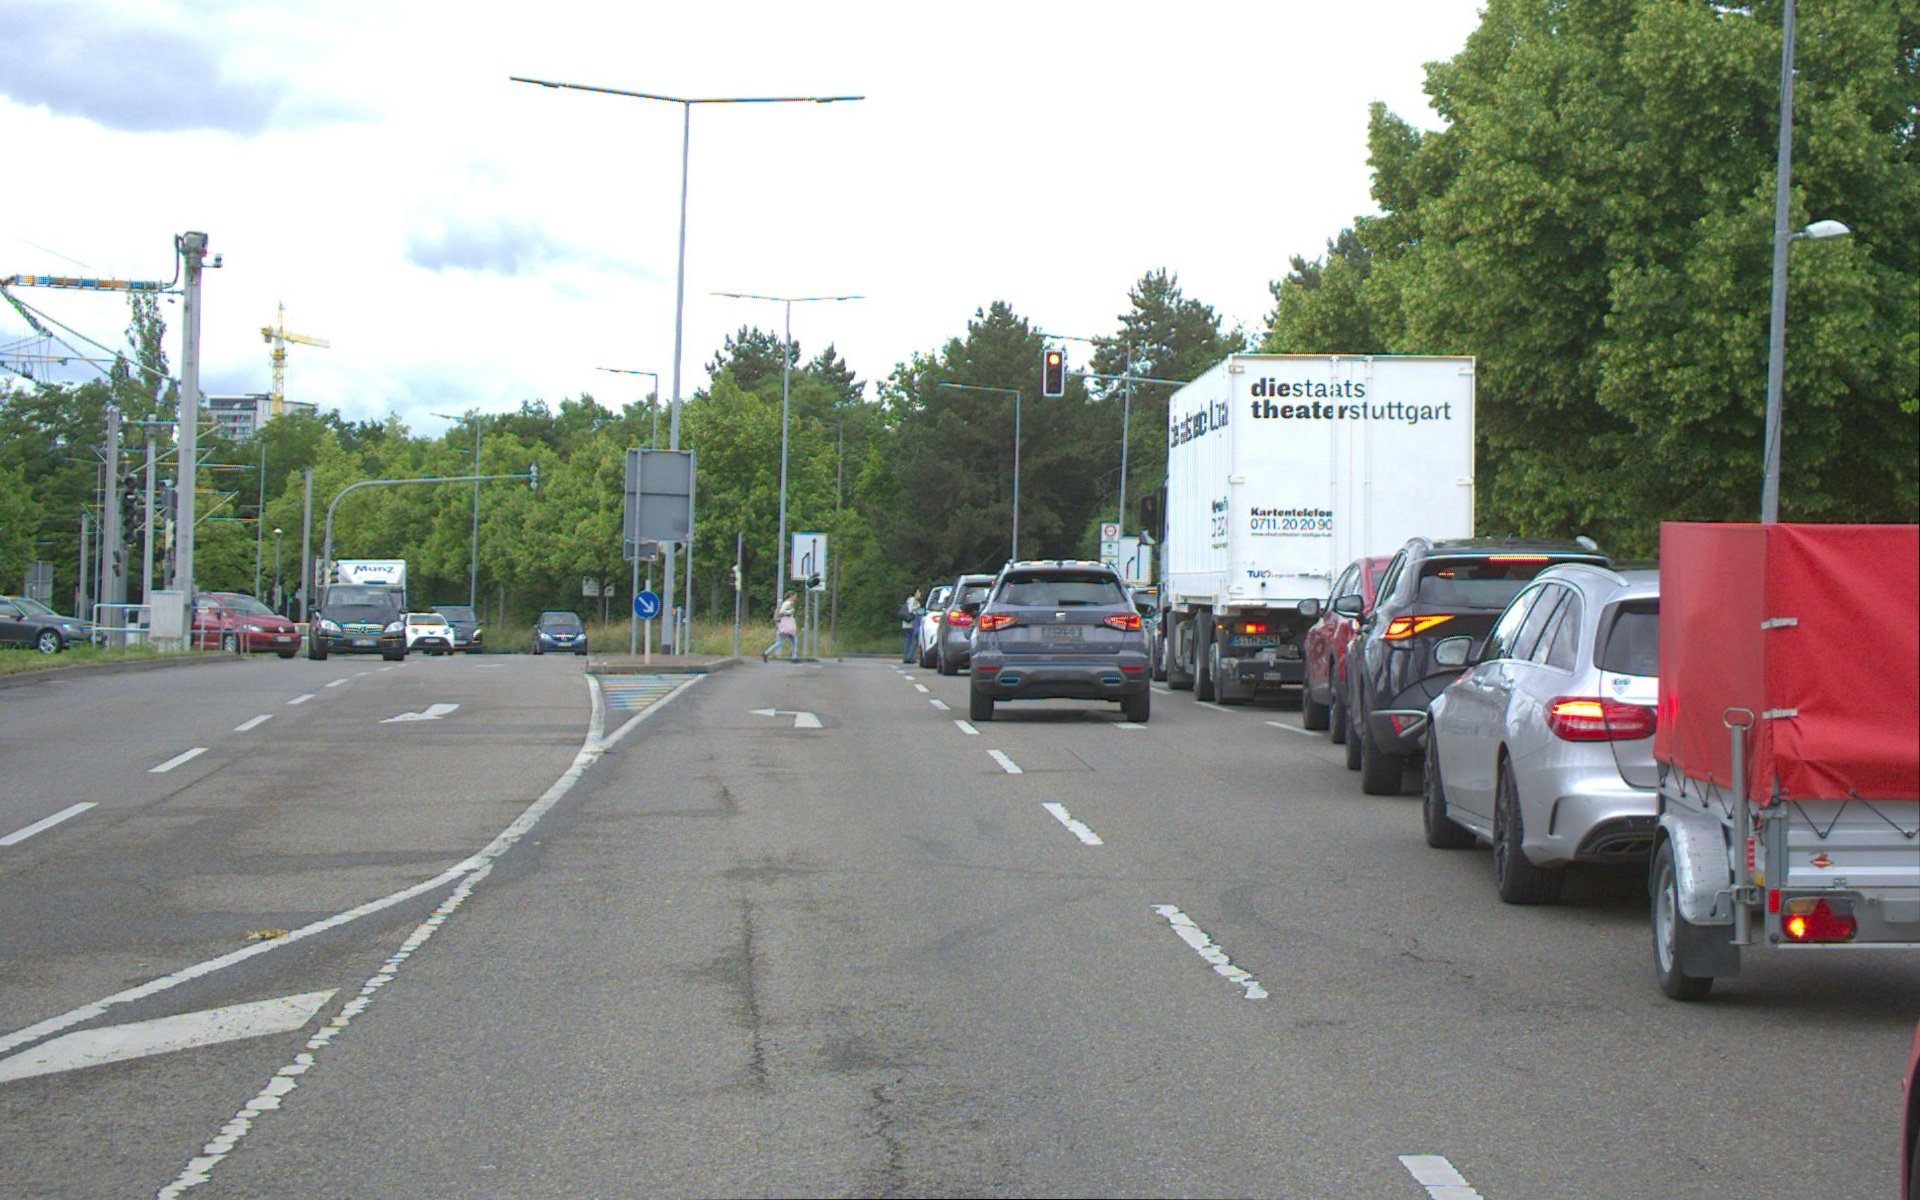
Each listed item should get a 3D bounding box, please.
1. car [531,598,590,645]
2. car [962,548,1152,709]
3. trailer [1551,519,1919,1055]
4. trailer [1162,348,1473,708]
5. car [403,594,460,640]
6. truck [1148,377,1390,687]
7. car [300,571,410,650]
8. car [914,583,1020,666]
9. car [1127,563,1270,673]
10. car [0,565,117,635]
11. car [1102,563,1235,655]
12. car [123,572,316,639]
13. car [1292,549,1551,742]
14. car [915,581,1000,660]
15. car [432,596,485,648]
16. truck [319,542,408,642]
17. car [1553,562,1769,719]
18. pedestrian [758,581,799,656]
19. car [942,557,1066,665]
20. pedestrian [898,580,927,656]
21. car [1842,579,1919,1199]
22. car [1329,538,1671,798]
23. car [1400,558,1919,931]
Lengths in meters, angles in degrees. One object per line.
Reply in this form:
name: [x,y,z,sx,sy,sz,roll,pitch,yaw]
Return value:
car: [-14.556,0.763,125.132,1.915,1.571,4.001,-1,1,-9]
car: [0.898,0.265,33.737,1.698,1.481,4.000,0,0,-1]
trailer: [2.991,0.531,11.848,1.409,1.588,3.303,0,1,2]
trailer: [3.911,-0.799,39.328,2.565,3.693,7.764,0,1,-1]
car: [-18.726,0.604,121.909,1.775,1.503,3.747,-1,1,-6]
truck: [3.822,-0.852,43.304,2.571,3.693,4.106,0,1,-1]
car: [-12.388,0.211,70.300,1.725,1.568,3.708,0,0,-18]
car: [0.098,0.441,61.514,1.721,1.417,4.357,0,0,-2]
car: [3.399,0.225,49.695,1.812,1.349,4.119,0,3,1]
car: [-22.881,-0.018,83.959,3.988,1.590,2.000,1,2,7]
car: [3.368,0.134,56.179,1.825,1.430,4.213,0,0,-1]
car: [-17.324,0.113,80.483,4.075,1.483,1.707,1,1,13]
car: [3.865,0.345,29.417,1.707,1.519,4.319,0,0,1]
car: [-0.068,0.402,66.389,1.535,1.499,2.670,0,-1,-2]
car: [-19.151,0.870,131.413,1.915,1.722,4.000,0,-4,-7]
truck: [-23.109,-0.292,132.877,2.659,3.637,9.505,2,0,-14]
car: [7.711,0.415,38.033,1.570,1.565,3.060,2,1,-3]
pedestrian: [-3.830,0.387,72.530,0.863,1.555,0.518,0,2,-3]
car: [0.639,0.135,52.455,1.799,1.518,4.188,0,1,0]
pedestrian: [-1.023,0.386,74.368,0.586,1.616,0.423,0,2,-3]
car: [2.559,0.720,4.617,1.718,1.452,3.697,1,1,-1]
car: [3.473,0.372,22.824,1.845,1.556,4.404,0,1,4]
car: [3.089,0.541,15.746,1.671,1.442,4.489,1,1,2]
